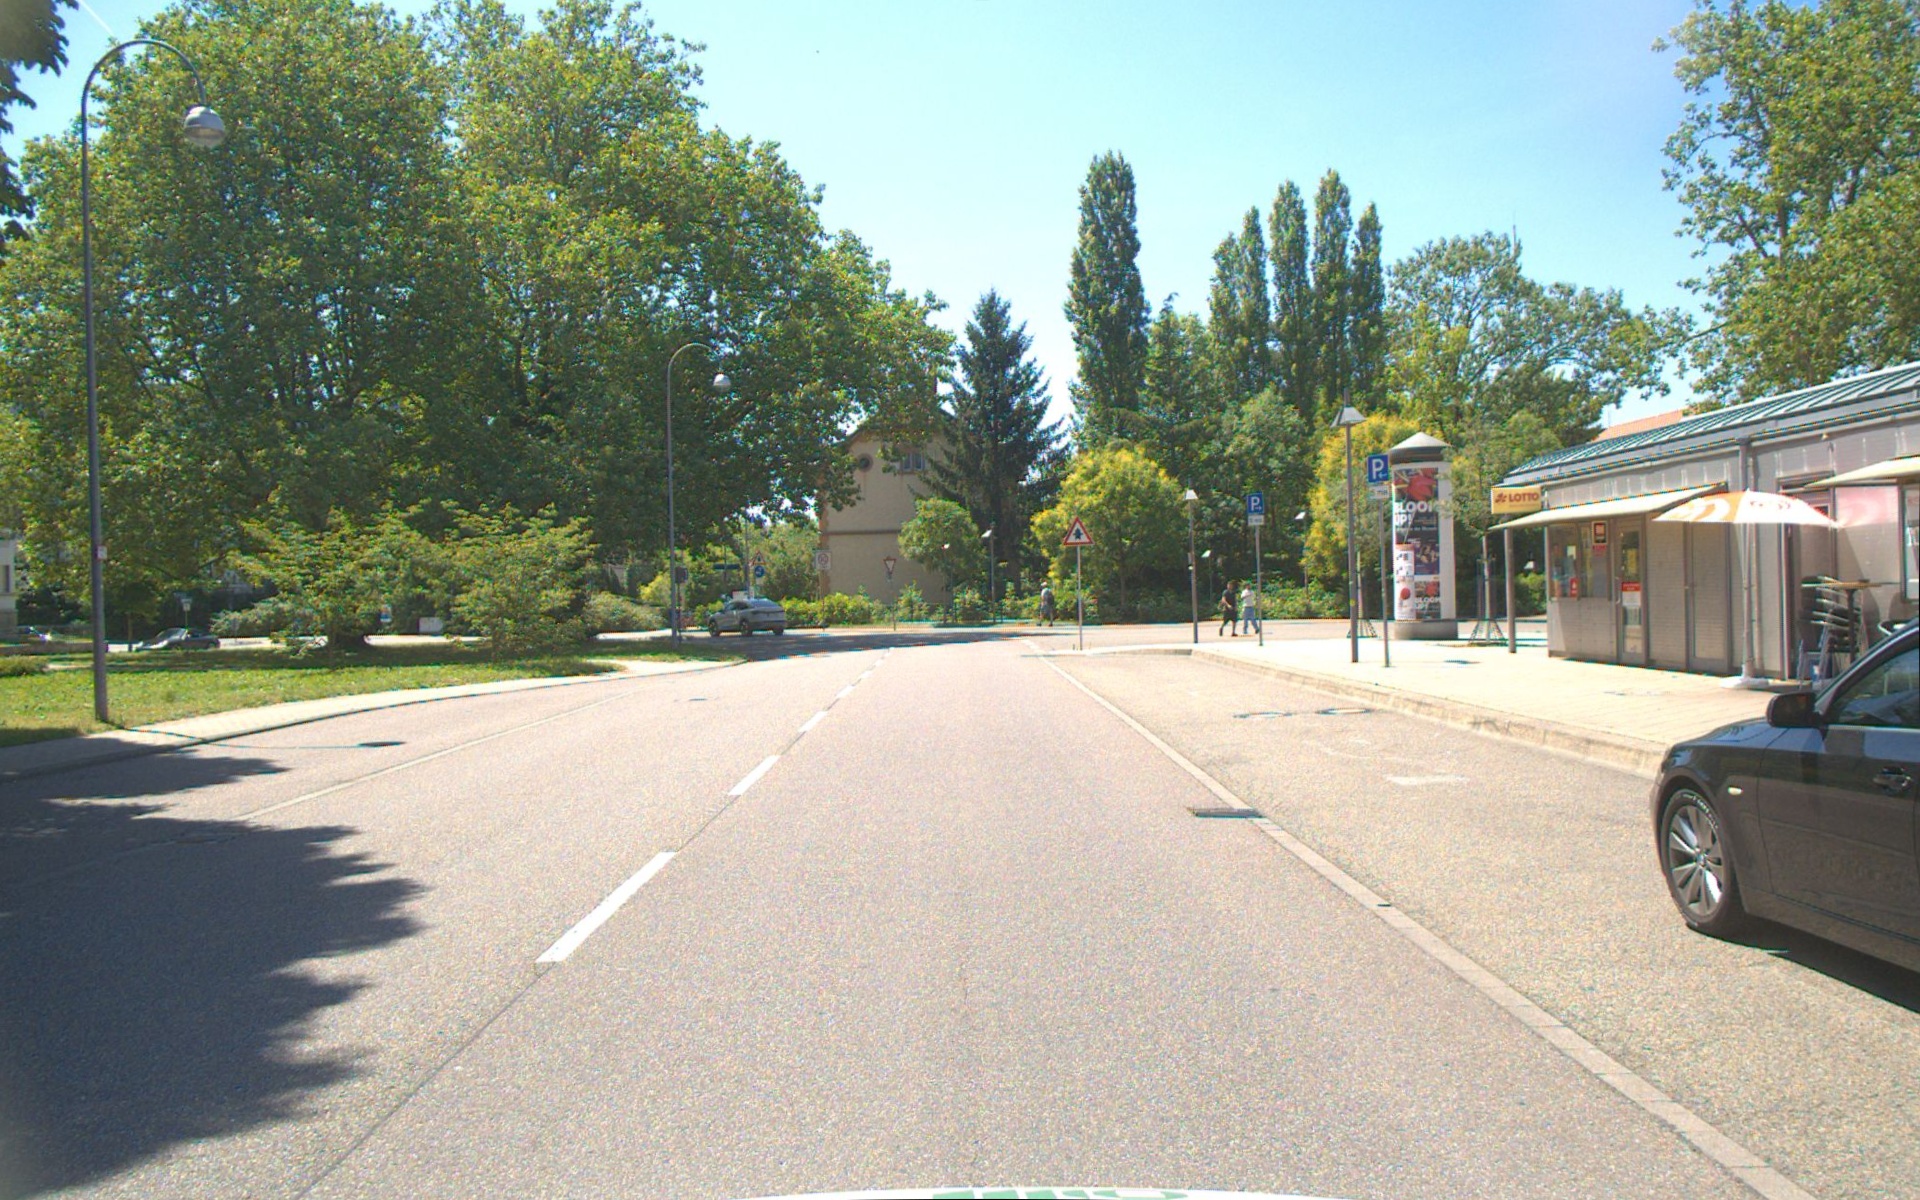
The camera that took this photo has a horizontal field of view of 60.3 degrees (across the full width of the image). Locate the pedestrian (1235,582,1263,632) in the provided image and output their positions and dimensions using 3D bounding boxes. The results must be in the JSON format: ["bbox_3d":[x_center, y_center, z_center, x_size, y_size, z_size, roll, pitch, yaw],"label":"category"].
[{"bbox_3d":[9.733,0.242,55.743,0.706,1.678,0.750,-2,-2,28],"label":"pedestrian"}]

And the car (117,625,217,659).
[{"bbox_3d":[-35.569,1.866,74.289,1.778,1.333,3.991,-2,0,18],"label":"car"}]

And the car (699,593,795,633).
[{"bbox_3d":[-9.652,0.610,74.680,1.972,1.655,4.705,-2,0,-42],"label":"car"}]

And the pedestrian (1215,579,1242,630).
[{"bbox_3d":[8.844,0.155,54.475,0.623,1.678,0.750,-2,-2,27],"label":"pedestrian"}]

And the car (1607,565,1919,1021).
[{"bbox_3d":[4.157,0.616,5.635,1.888,1.485,4.724,-4,0,-1],"label":"car"}]

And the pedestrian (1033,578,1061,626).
[{"bbox_3d":[3.658,0.099,69.730,0.799,2.000,0.844,-1,0,-40],"label":"pedestrian"}]
